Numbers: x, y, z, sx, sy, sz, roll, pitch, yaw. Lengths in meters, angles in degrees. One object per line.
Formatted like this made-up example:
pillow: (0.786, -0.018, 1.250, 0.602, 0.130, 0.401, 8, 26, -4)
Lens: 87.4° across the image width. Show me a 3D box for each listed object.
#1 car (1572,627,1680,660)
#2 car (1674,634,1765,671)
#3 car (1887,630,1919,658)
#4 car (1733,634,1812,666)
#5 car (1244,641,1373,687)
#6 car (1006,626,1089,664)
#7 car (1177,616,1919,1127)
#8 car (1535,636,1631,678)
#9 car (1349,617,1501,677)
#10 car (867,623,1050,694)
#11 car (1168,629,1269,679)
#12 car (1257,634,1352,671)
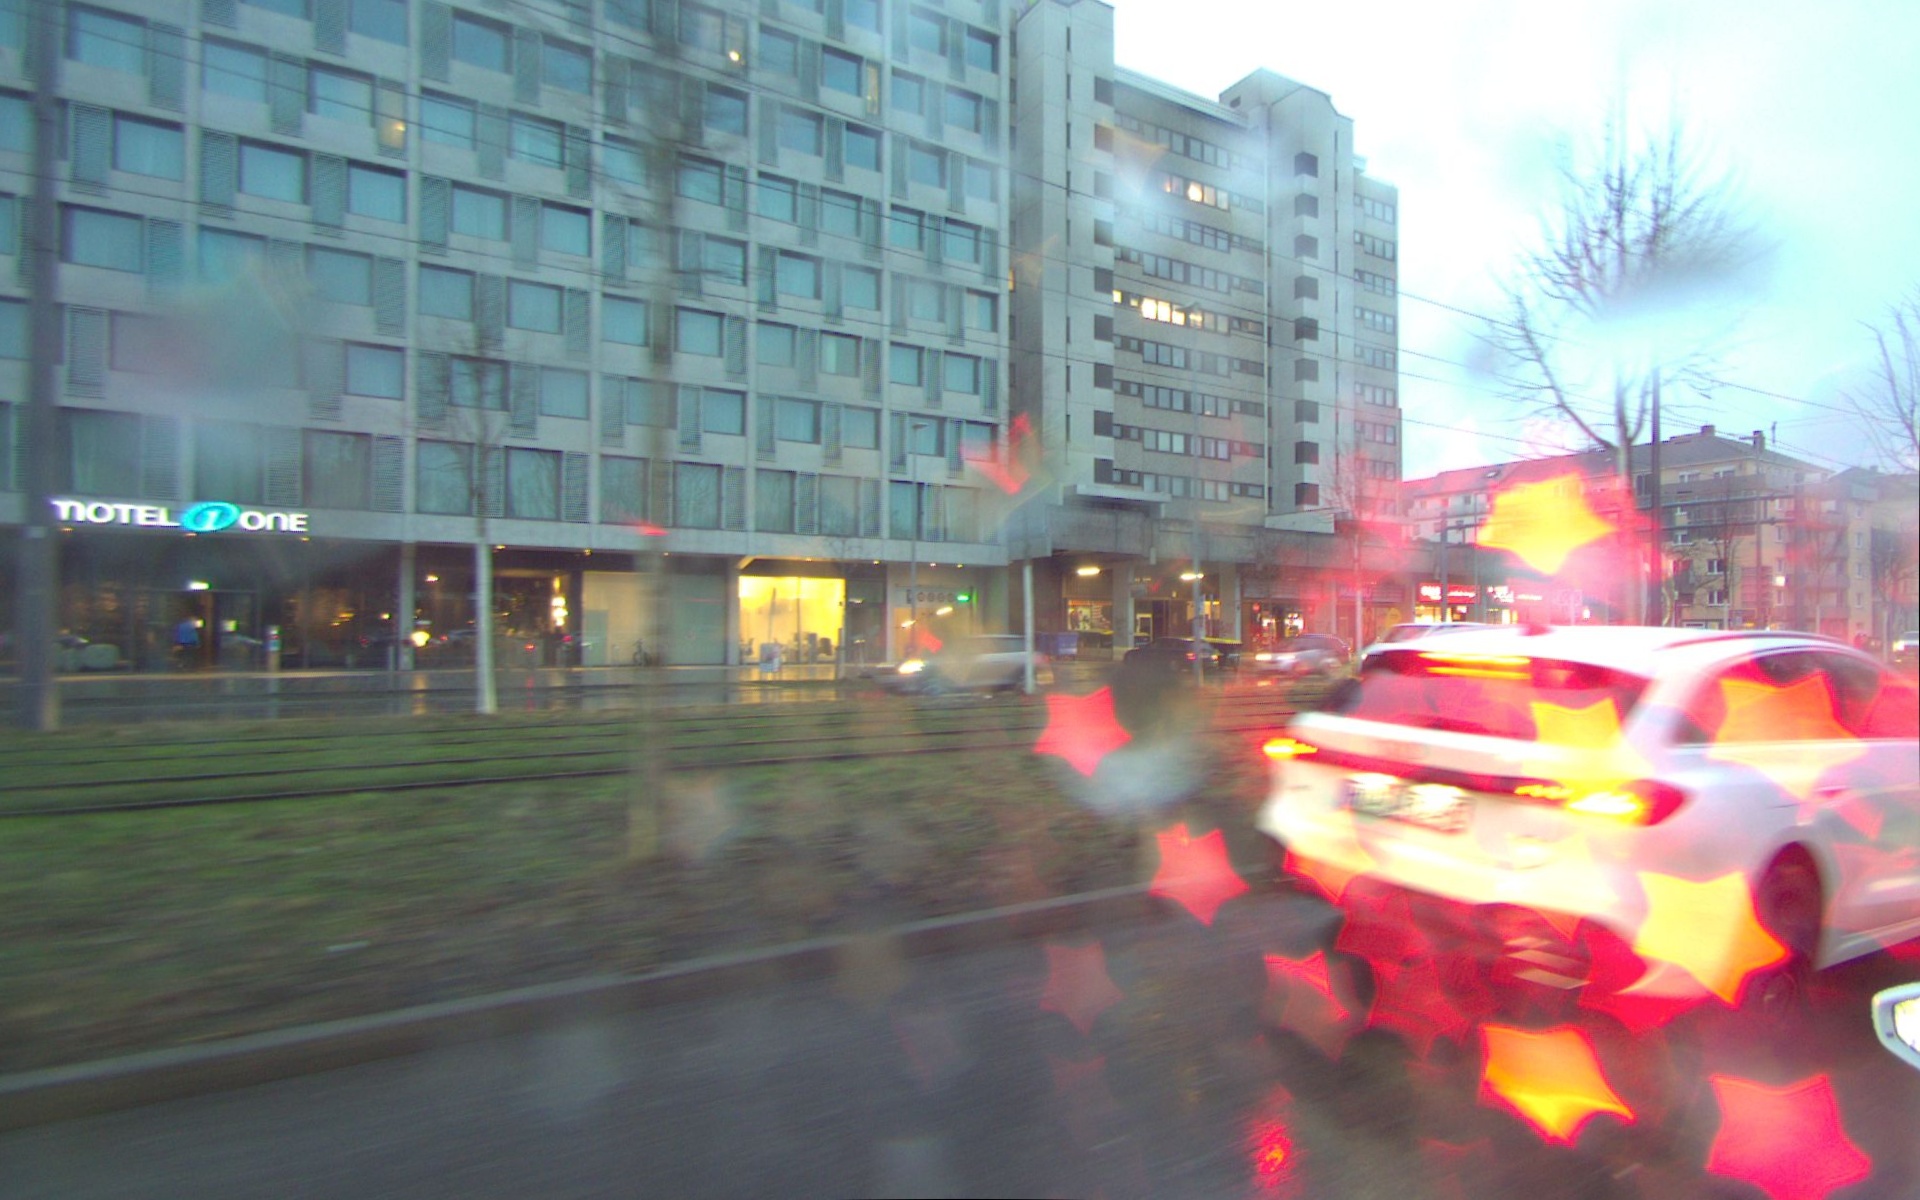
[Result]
car: (40.230, 2.620, 60.837, 5.059, 1.937, 2.001, 0, -2, 15)
car: (37.982, 2.607, 50.197, 4.858, 1.741, 1.887, 1, -1, -30)
car: (67.275, 3.102, 70.799, 5.115, 1.937, 1.979, 1, -2, -37)
car: (46.243, 2.799, 57.147, 4.858, 1.741, 1.887, 1, -1, -30)
car: (12.869, 2.310, 37.033, 4.736, 1.536, 1.887, 1, -2, -31)
car: (4.132, 2.090, 47.945, 1.709, 1.718, 4.336, 1, -2, -32)
car: (3.392, 0.841, 4.817, 4.560, 1.424, 1.837, 2, -1, -30)
car: (28.673, 2.583, 46.215, 4.477, 1.837, 1.887, 1, -2, -31)
car: (14.425, 1.417, 31.057, 5.063, 1.741, 1.885, 1, -2, -33)
car: (-0.018, 1.258, 22.481, 3.664, 1.450, 1.886, 1, -2, -31)
car: (10.327, 2.153, 40.324, 3.846, 1.910, 1.729, 0, -1, 13)
car: (15.907, 2.385, 46.369, 3.924, 1.405, 1.935, 2, 0, 25)
